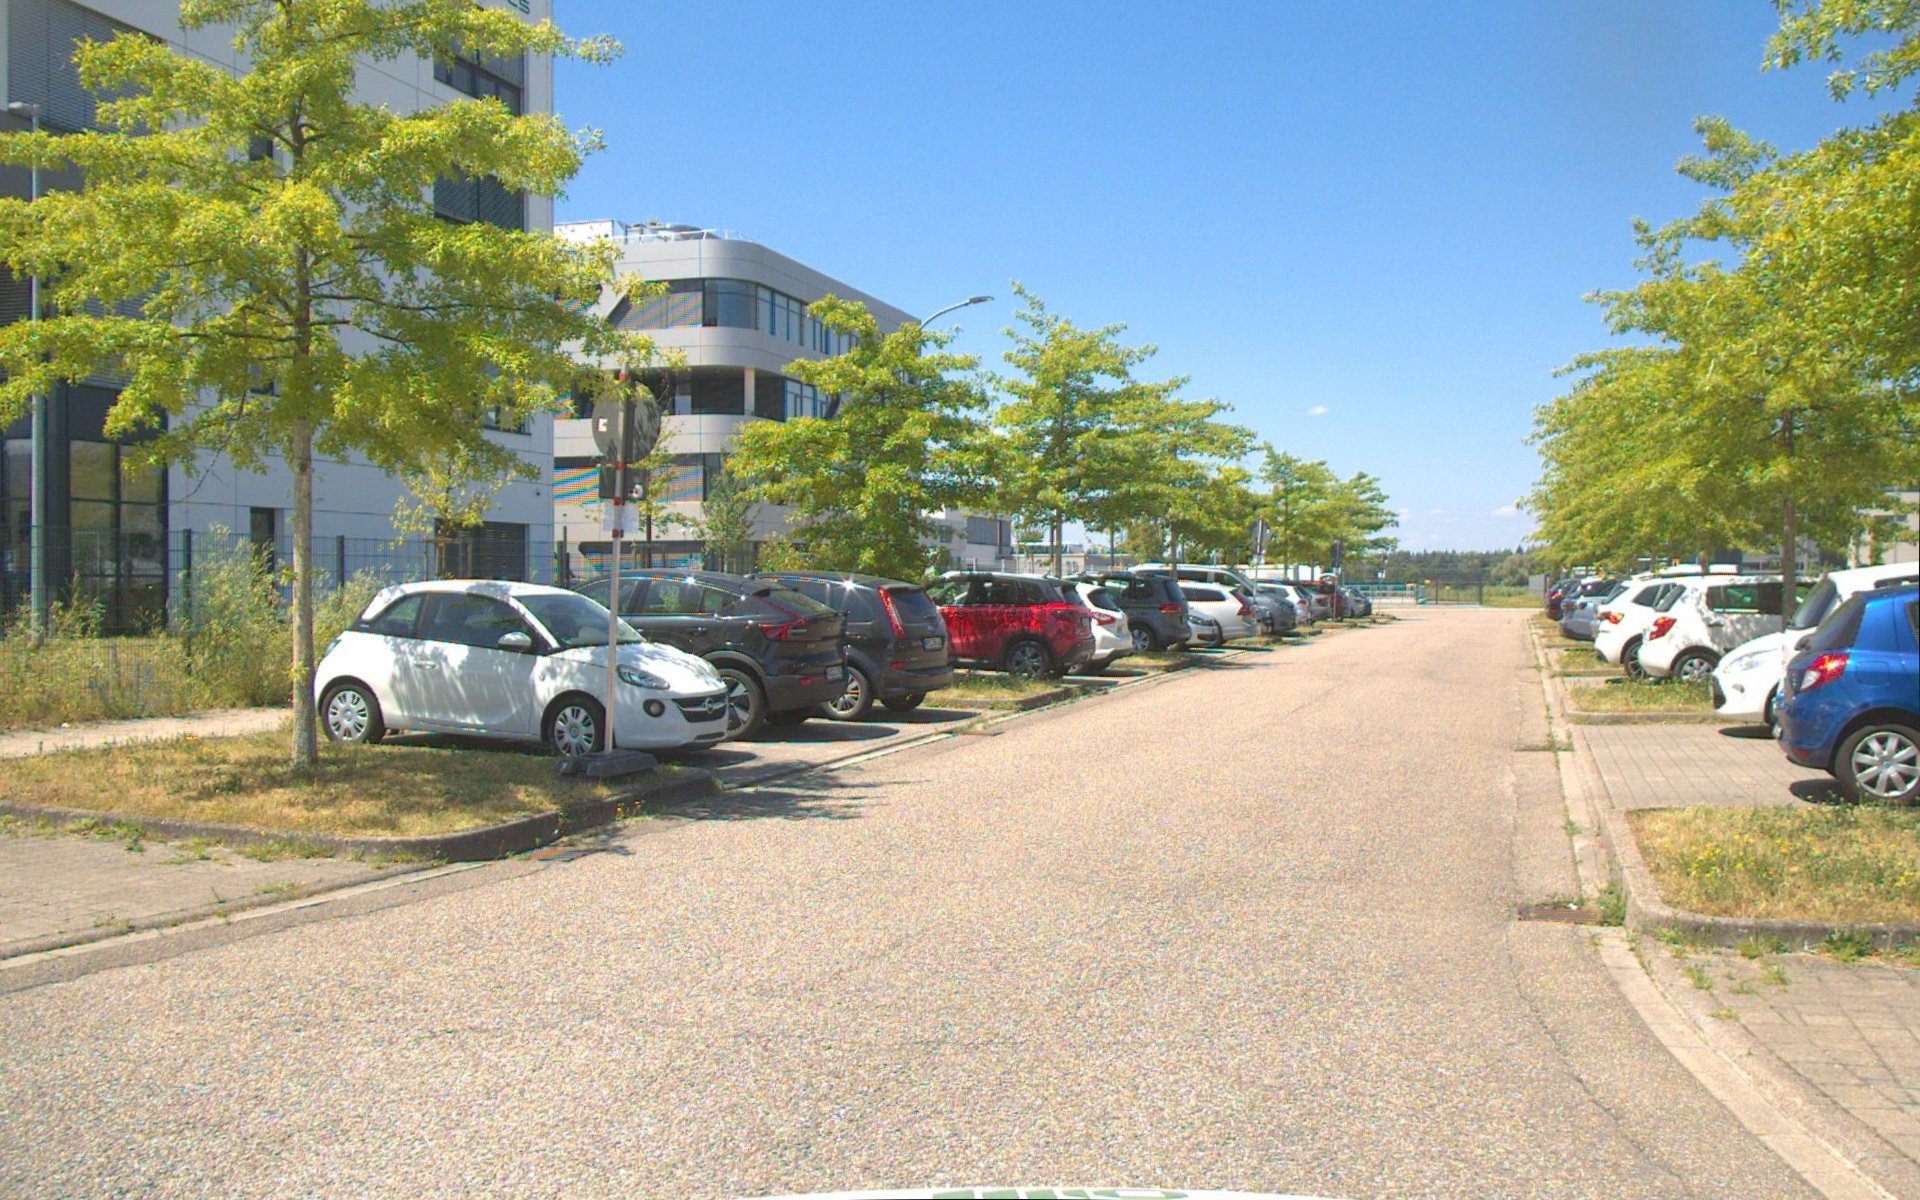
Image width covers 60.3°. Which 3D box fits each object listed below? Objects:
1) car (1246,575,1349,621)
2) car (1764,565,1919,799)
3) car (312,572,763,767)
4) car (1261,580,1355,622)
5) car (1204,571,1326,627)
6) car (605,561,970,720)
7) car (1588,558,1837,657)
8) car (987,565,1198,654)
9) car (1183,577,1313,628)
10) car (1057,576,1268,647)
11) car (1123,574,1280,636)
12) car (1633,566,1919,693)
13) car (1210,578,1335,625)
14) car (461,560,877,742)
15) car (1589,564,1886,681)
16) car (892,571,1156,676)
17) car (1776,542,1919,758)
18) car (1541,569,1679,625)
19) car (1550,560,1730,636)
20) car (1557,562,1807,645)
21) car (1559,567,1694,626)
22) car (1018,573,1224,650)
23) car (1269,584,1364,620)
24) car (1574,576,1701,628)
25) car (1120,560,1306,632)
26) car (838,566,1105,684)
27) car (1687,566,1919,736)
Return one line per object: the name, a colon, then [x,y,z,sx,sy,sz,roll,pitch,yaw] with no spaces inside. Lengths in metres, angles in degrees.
car: [13.107,-0.089,64.185,3.660,1.649,1.817,2,1,20]
car: [7.695,0.472,11.158,3.915,1.516,1.727,-3,0,23]
car: [-3.680,0.533,14.550,3.431,1.466,1.728,2,1,18]
car: [14.015,0.028,66.639,3.579,1.535,1.732,2,1,15]
car: [10.279,-0.040,55.699,3.902,1.707,1.779,2,1,14]
car: [-1.981,0.412,19.245,3.825,1.619,1.728,2,1,18]
car: [13.703,0.146,30.355,3.962,1.653,1.694,-2,0,19]
car: [2.761,0.160,34.223,4.031,1.663,1.728,2,1,18]
car: [9.317,0.070,53.399,3.952,1.486,1.605,2,1,16]
car: [4.712,0.233,38.397,4.613,1.472,1.859,2,1,16]
car: [6.547,0.113,44.760,3.886,1.509,1.764,2,1,19]
car: [10.875,0.372,21.582,3.754,1.551,1.780,-1,0,19]
car: [11.002,0.037,58.222,4.106,1.506,1.713,2,1,19]
car: [-2.941,0.451,16.970,3.757,1.621,1.831,2,1,15]
car: [11.235,0.321,24.102,3.758,1.580,1.779,-1,1,24]
car: [1.090,0.346,28.045,4.086,1.539,1.808,2,2,20]
car: [8.879,0.315,13.274,4.027,1.679,1.773,-3,0,24]
car: [21.527,-0.094,54.942,4.086,1.726,1.783,-2,0,18]
car: [18.077,-0.031,44.196,4.311,1.862,1.796,-2,-1,20]
car: [15.270,0.081,35.245,4.616,1.588,1.915,-2,0,15]
car: [21.002,-0.110,52.258,3.794,1.707,1.783,-2,0,19]
car: [3.535,0.225,36.219,4.220,1.499,1.729,2,1,17]
car: [15.791,0.074,73.273,3.989,1.449,1.875,2,1,15]
car: [20.461,0.064,50.091,3.385,1.442,1.755,-2,0,18]
car: [7.311,-0.140,47.756,4.965,1.924,1.997,1,1,20]
car: [0.201,0.344,25.446,3.758,1.619,1.729,2,1,17]
car: [9.101,0.439,15.961,3.541,1.488,1.612,-3,0,14]
